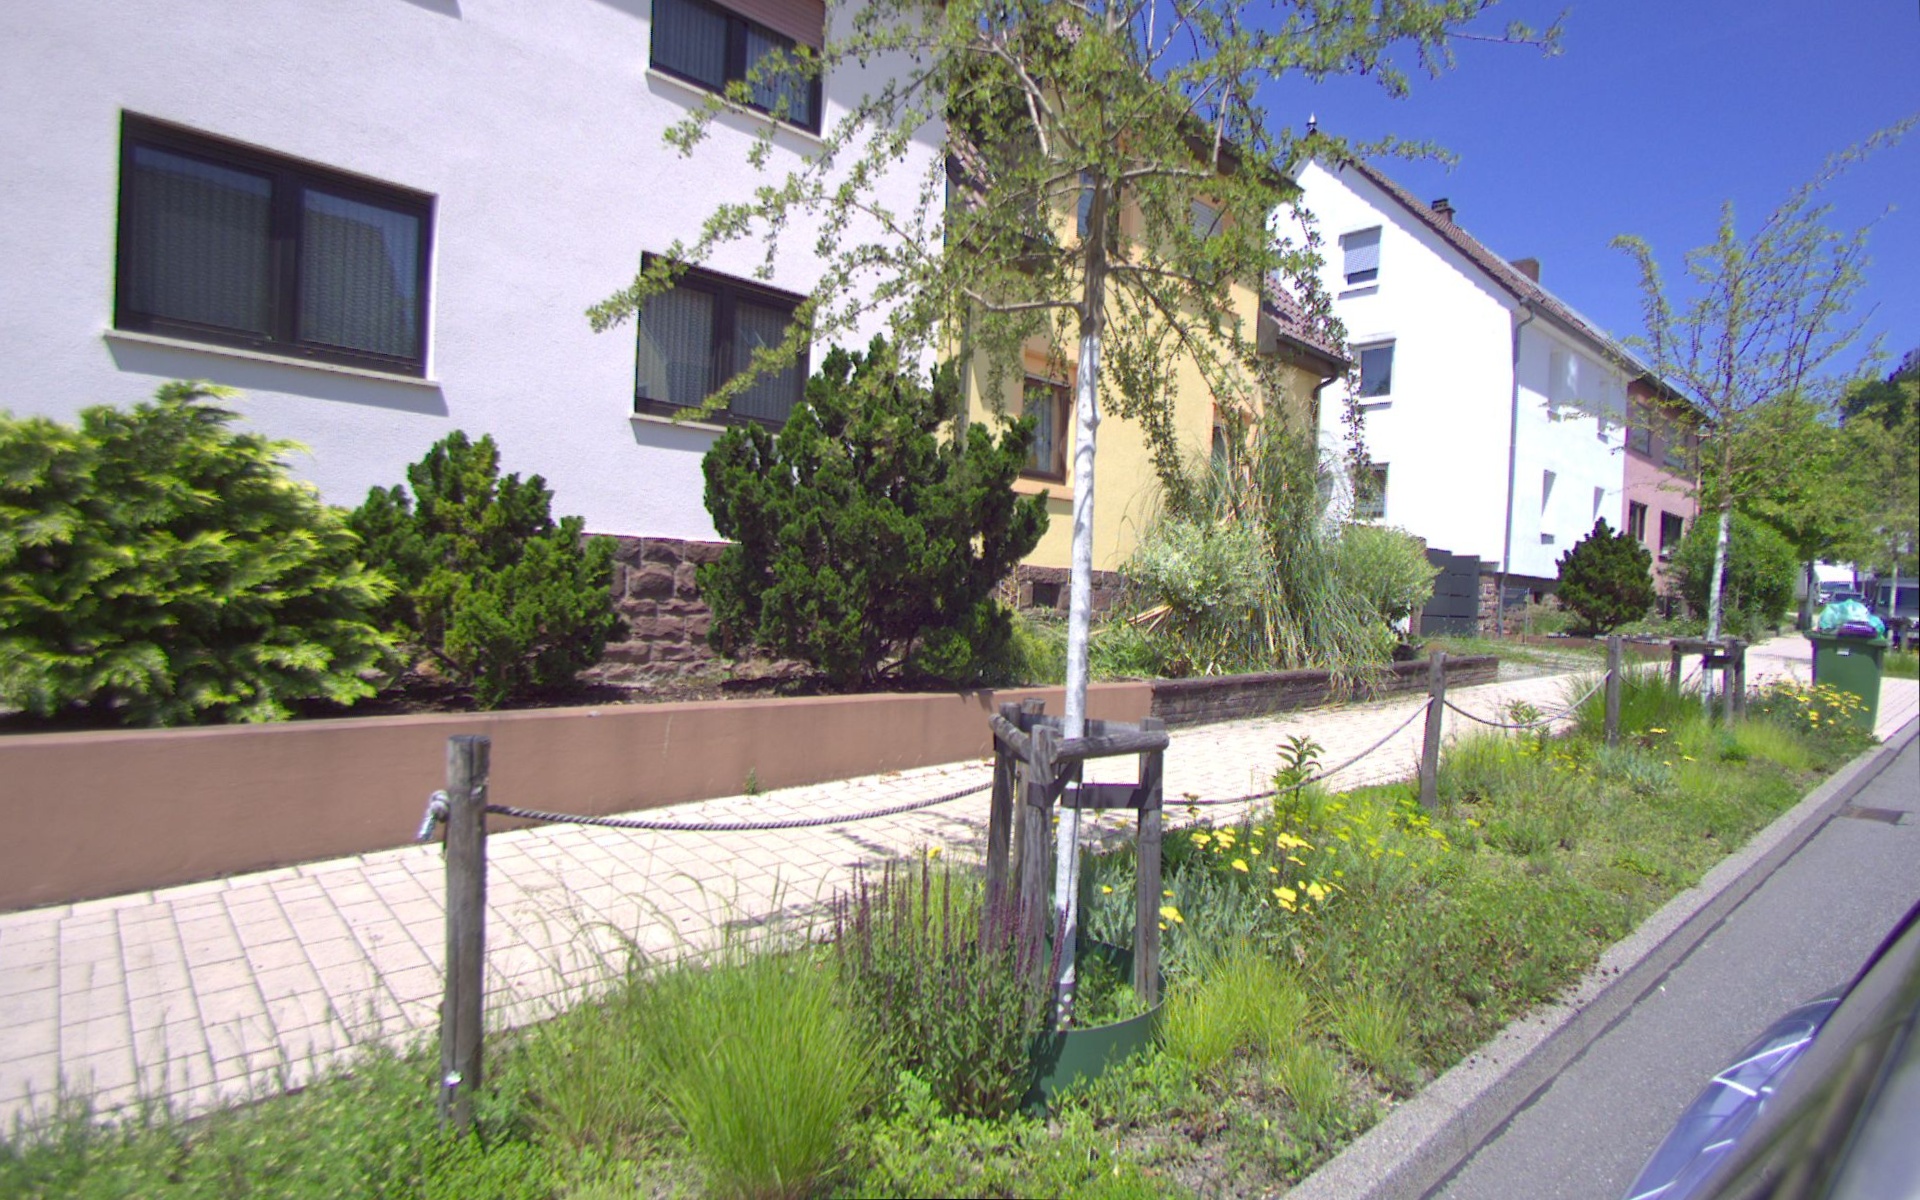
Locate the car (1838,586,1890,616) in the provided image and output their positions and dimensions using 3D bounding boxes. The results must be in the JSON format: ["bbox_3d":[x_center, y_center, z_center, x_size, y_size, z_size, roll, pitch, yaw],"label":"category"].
[{"bbox_3d":[46.187,0.011,51.778,1.668,1.393,3.945,3,2,38],"label":"car"}]

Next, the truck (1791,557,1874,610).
[{"bbox_3d":[60.491,-1.117,70.369,2.783,3.457,8.036,1,1,29],"label":"truck"}]

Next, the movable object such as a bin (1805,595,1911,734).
[{"bbox_3d":[9.781,0.661,11.016,0.910,1.413,0.792,0,1,-44],"label":"movable object such as a bin"}]

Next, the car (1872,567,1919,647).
[{"bbox_3d":[24.438,0.174,25.509,1.856,1.865,4.595,4,3,45],"label":"car"}]
